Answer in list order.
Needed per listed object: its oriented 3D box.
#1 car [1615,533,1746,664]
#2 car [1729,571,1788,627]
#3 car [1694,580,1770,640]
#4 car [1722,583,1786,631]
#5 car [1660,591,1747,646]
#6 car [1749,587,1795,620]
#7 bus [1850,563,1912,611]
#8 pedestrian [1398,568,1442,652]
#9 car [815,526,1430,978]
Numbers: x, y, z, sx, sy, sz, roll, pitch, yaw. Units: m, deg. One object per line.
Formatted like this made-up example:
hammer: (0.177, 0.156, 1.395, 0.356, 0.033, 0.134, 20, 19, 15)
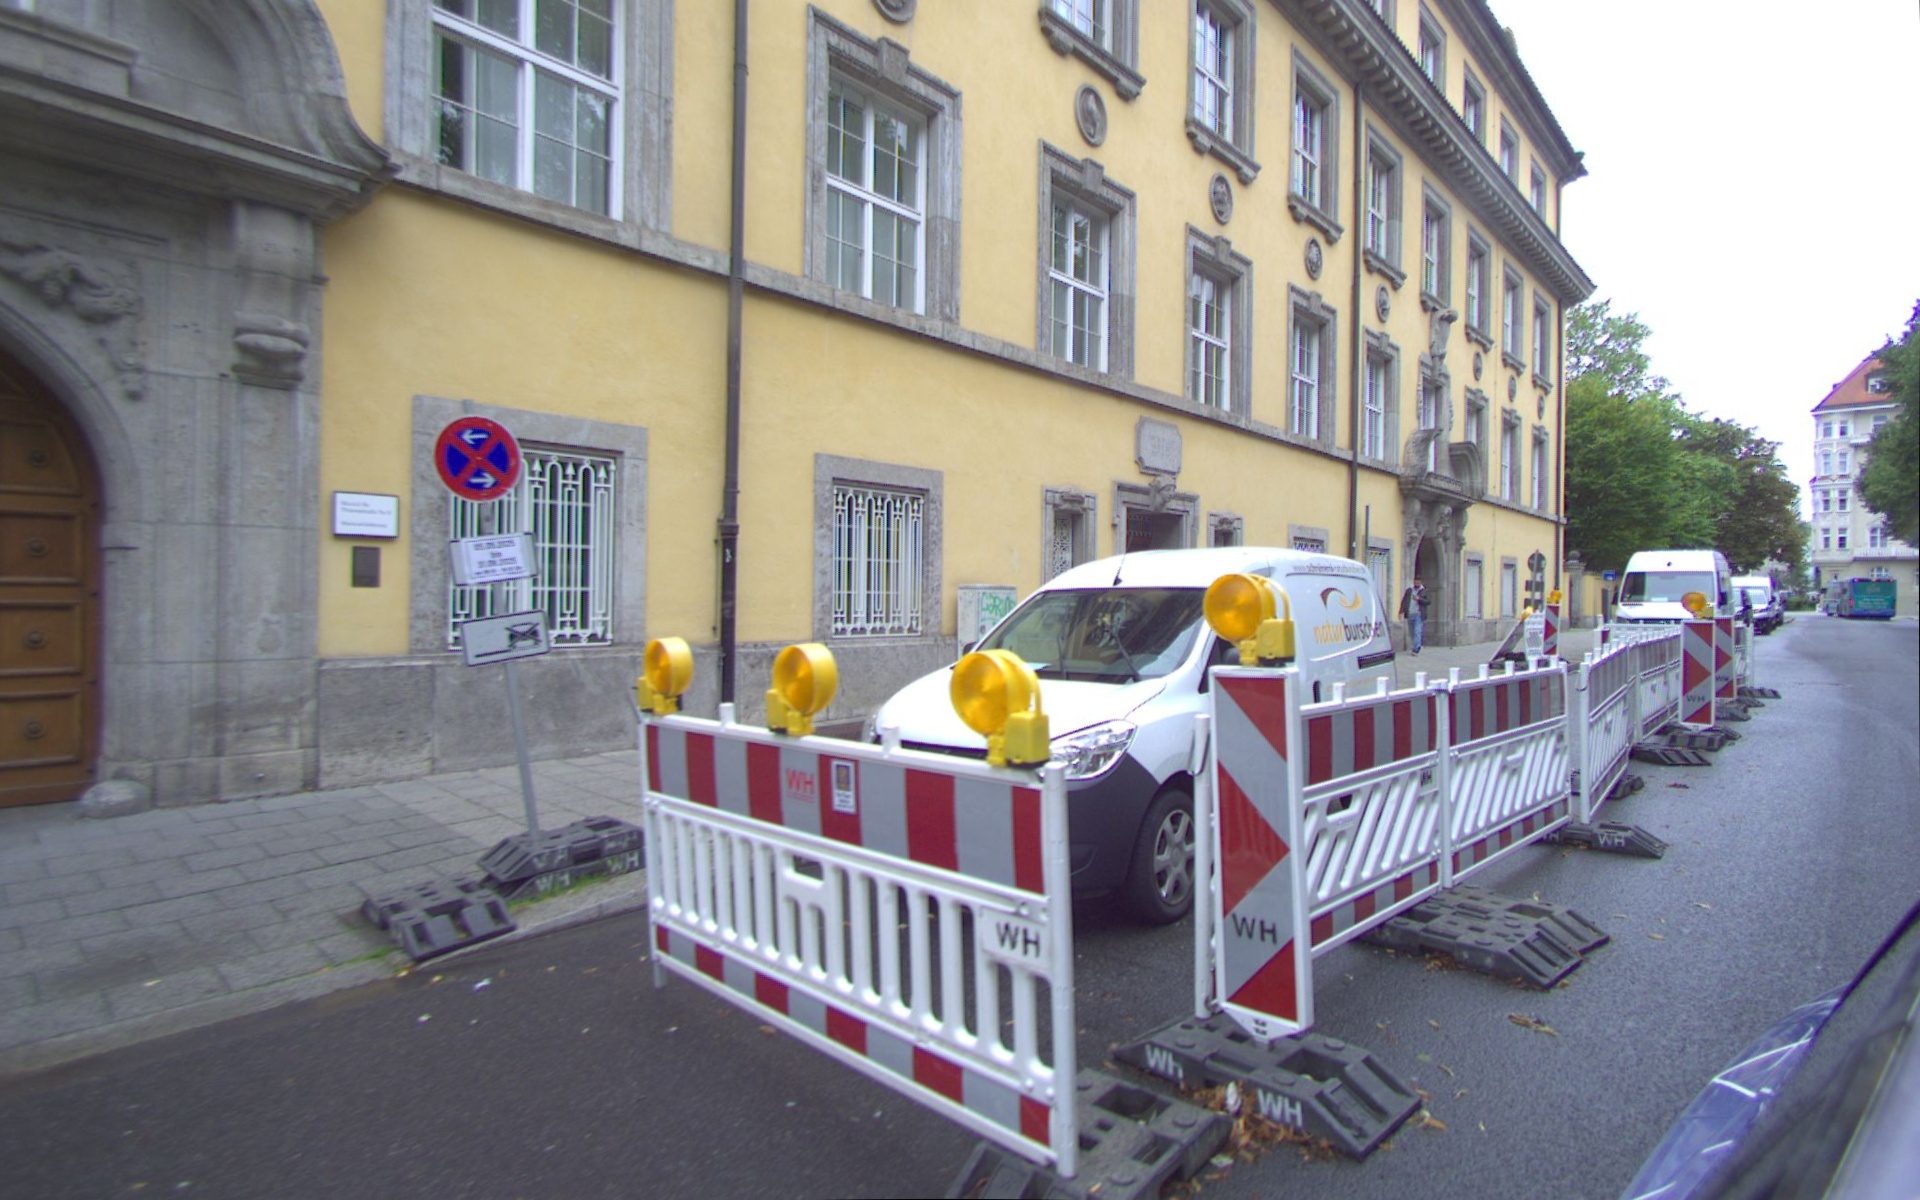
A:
car: (17.564, -0.091, 24.467, 2.052, 2.706, 7.505, 1, 1, 40)
car: (38.692, -0.117, 48.991, 2.093, 2.518, 5.657, 1, 2, 40)
car: (26.604, 0.277, 34.817, 1.868, 1.892, 4.915, 1, 1, 40)
car: (33.920, 0.263, 43.272, 2.009, 1.931, 5.093, -1, 0, 38)
car: (22.527, 0.500, 30.612, 1.868, 1.476, 4.194, 1, 1, 40)
car: (45.335, 0.195, 56.476, 1.857, 1.763, 4.535, -1, 0, 41)
bus: (70.198, -1.094, 77.412, 2.856, 3.279, 18.158, 1, 2, 40)
pedestrian: (10.275, 0.211, 22.601, 0.700, 1.826, 0.574, 3, 3, 41)
car: (1.316, 0.538, 6.170, 1.738, 1.771, 4.292, 1, 2, 41)
